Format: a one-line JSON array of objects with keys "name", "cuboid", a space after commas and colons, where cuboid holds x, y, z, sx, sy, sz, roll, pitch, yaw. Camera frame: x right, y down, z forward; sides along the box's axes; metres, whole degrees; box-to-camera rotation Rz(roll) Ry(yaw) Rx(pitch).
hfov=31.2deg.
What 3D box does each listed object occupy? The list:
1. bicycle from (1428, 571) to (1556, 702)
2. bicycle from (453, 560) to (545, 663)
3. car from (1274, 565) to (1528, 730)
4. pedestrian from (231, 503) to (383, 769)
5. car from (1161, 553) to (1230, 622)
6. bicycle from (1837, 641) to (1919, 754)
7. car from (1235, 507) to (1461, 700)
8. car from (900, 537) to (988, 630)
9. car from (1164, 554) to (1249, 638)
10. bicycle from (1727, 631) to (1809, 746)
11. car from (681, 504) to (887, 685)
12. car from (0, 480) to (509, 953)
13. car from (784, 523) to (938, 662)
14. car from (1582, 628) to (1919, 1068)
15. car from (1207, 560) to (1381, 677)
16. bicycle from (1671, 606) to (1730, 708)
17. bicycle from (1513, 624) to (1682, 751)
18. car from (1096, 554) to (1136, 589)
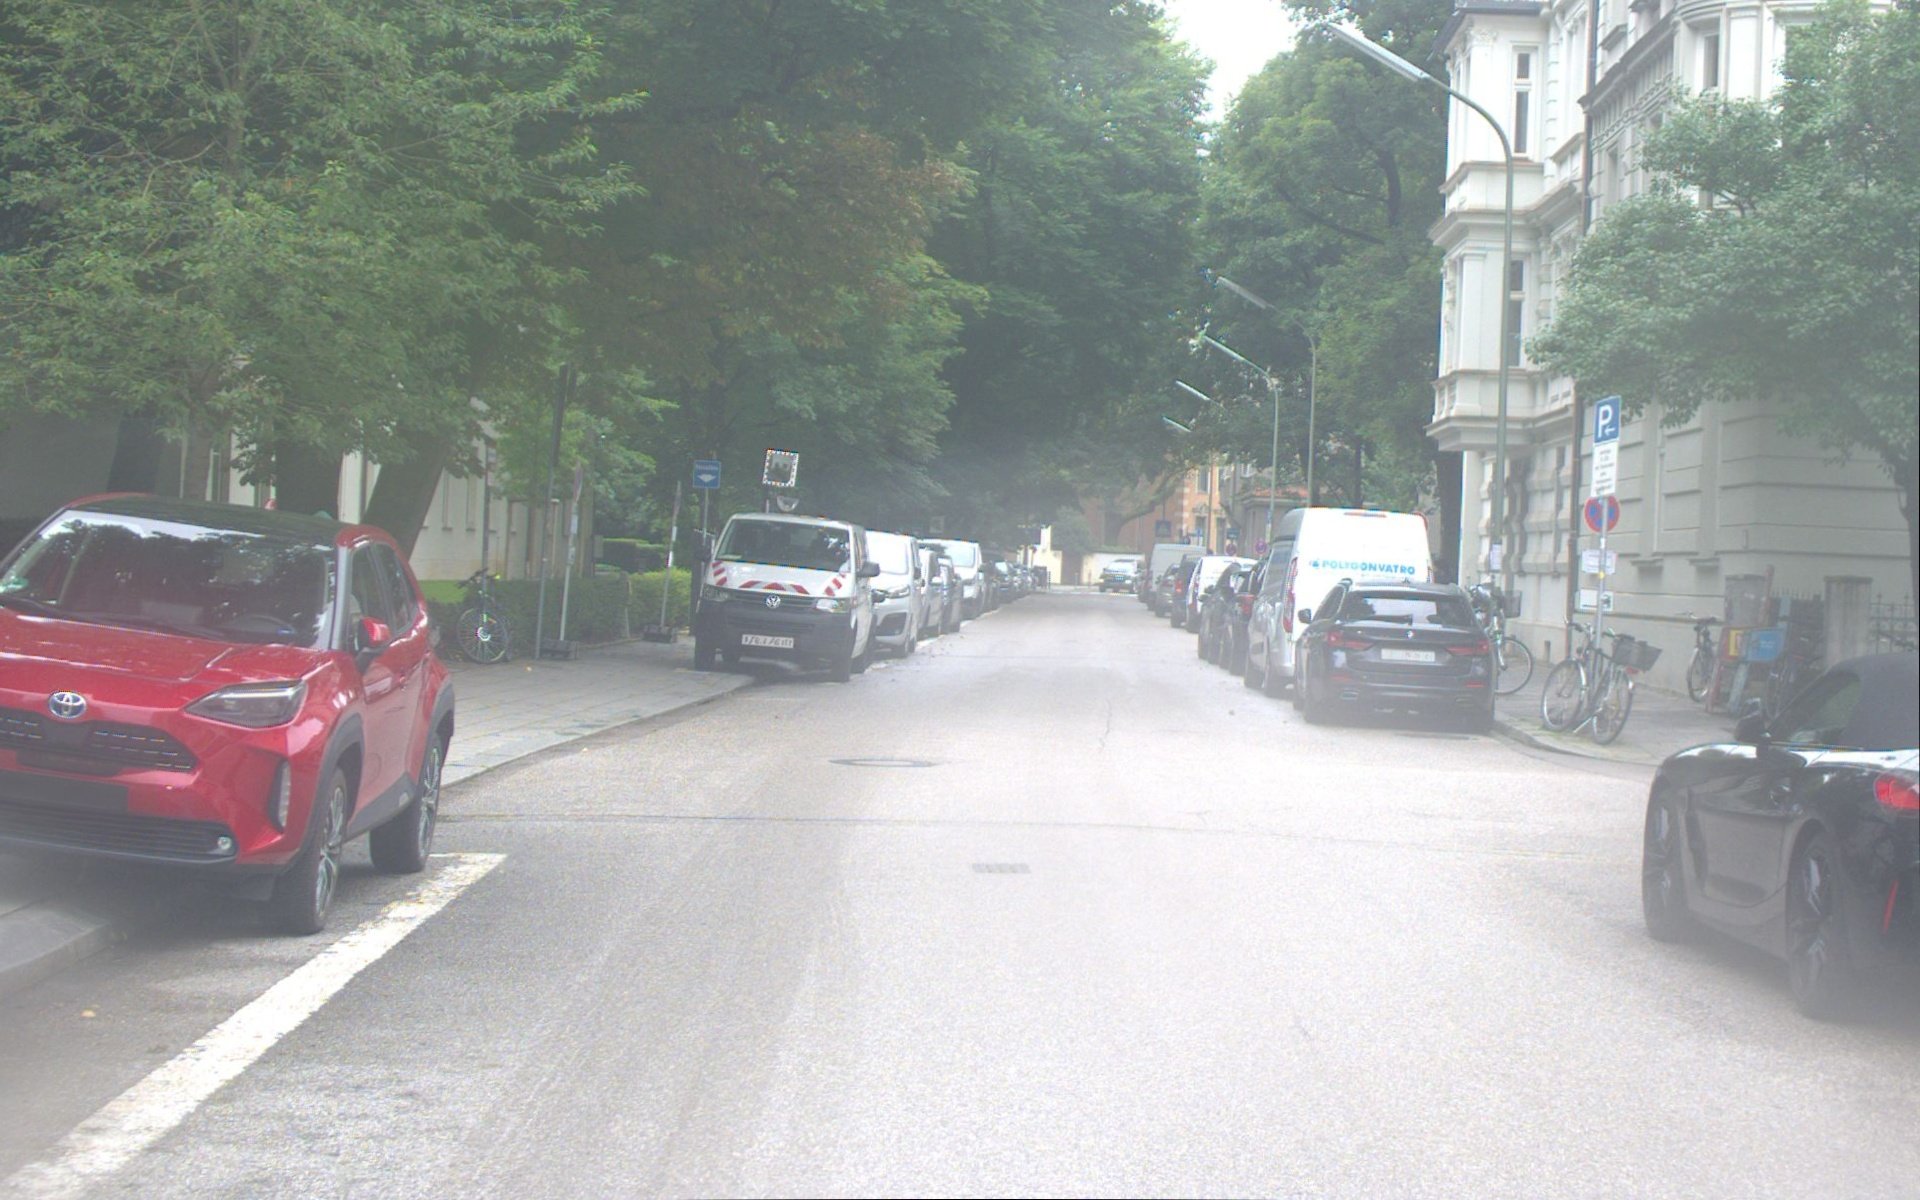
[{"name": "bicycle", "cuboid": [6.459, 0.429, 41.850, 0.707, 1.510, 2.039, 2, 1, -15]}, {"name": "bicycle", "cuboid": [-5.202, 0.124, 38.890, 0.633, 1.099, 1.767, 4, 0, 4]}, {"name": "car", "cuboid": [4.460, 0.451, 35.447, 2.273, 1.541, 4.586, 1, 0, 4]}, {"name": "pedestrian", "cuboid": [-3.966, 0.210, 20.930, 0.713, 1.543, 0.753, 4, 0, -4]}, {"name": "car", "cuboid": [7.160, -0.389, 104.592, 1.994, 2.007, 4.000, 2, 1, 4]}, {"name": "bicycle", "cuboid": [9.404, 0.950, 32.743, 1.923, 1.024, 0.557, 2, 2, 5]}, {"name": "car", "cuboid": [4.701, 0.035, 42.404, 2.203, 2.201, 4.855, 1, 0, 0]}, {"name": "car", "cuboid": [-0.365, -0.424, 87.195, 2.002, 2.179, 4.696, 4, 1, 1]}, {"name": "car", "cuboid": [6.116, -0.122, 85.432, 1.994, 1.969, 4.000, 2, 1, 4]}, {"name": "bicycle", "cuboid": [8.007, 0.863, 34.109, 0.430, 1.024, 1.890, 2, 2, 3]}, {"name": "car", "cuboid": [-2.090, -0.092, 42.502, 2.247, 1.950, 5.454, 4, 1, -1]}, {"name": "car", "cuboid": [-3.139, 0.364, 14.347, 1.887, 1.585, 4.528, 4, 1, -1]}, {"name": "car", "cuboid": [-1.533, -0.143, 54.211, 2.183, 1.950, 5.167, 4, 1, -1]}, {"name": "car", "cuboid": [3.861, 0.814, 13.323, 2.000, 1.314, 4.595, 0, 1, -1]}, {"name": "car", "cuboid": [4.923, 0.253, 51.247, 2.138, 1.624, 4.316, 1, 0, 0]}, {"name": "bicycle", "cuboid": [8.105, 0.615, 37.660, 0.546, 1.056, 1.750, 2, 1, 11]}, {"name": "bicycle", "cuboid": [5.899, 0.797, 31.943, 0.653, 1.024, 2.203, 2, 2, -14]}, {"name": "car", "cuboid": [8.460, -1.555, 186.119, 1.994, 1.777, 4.000, 2, 1, 4]}]
